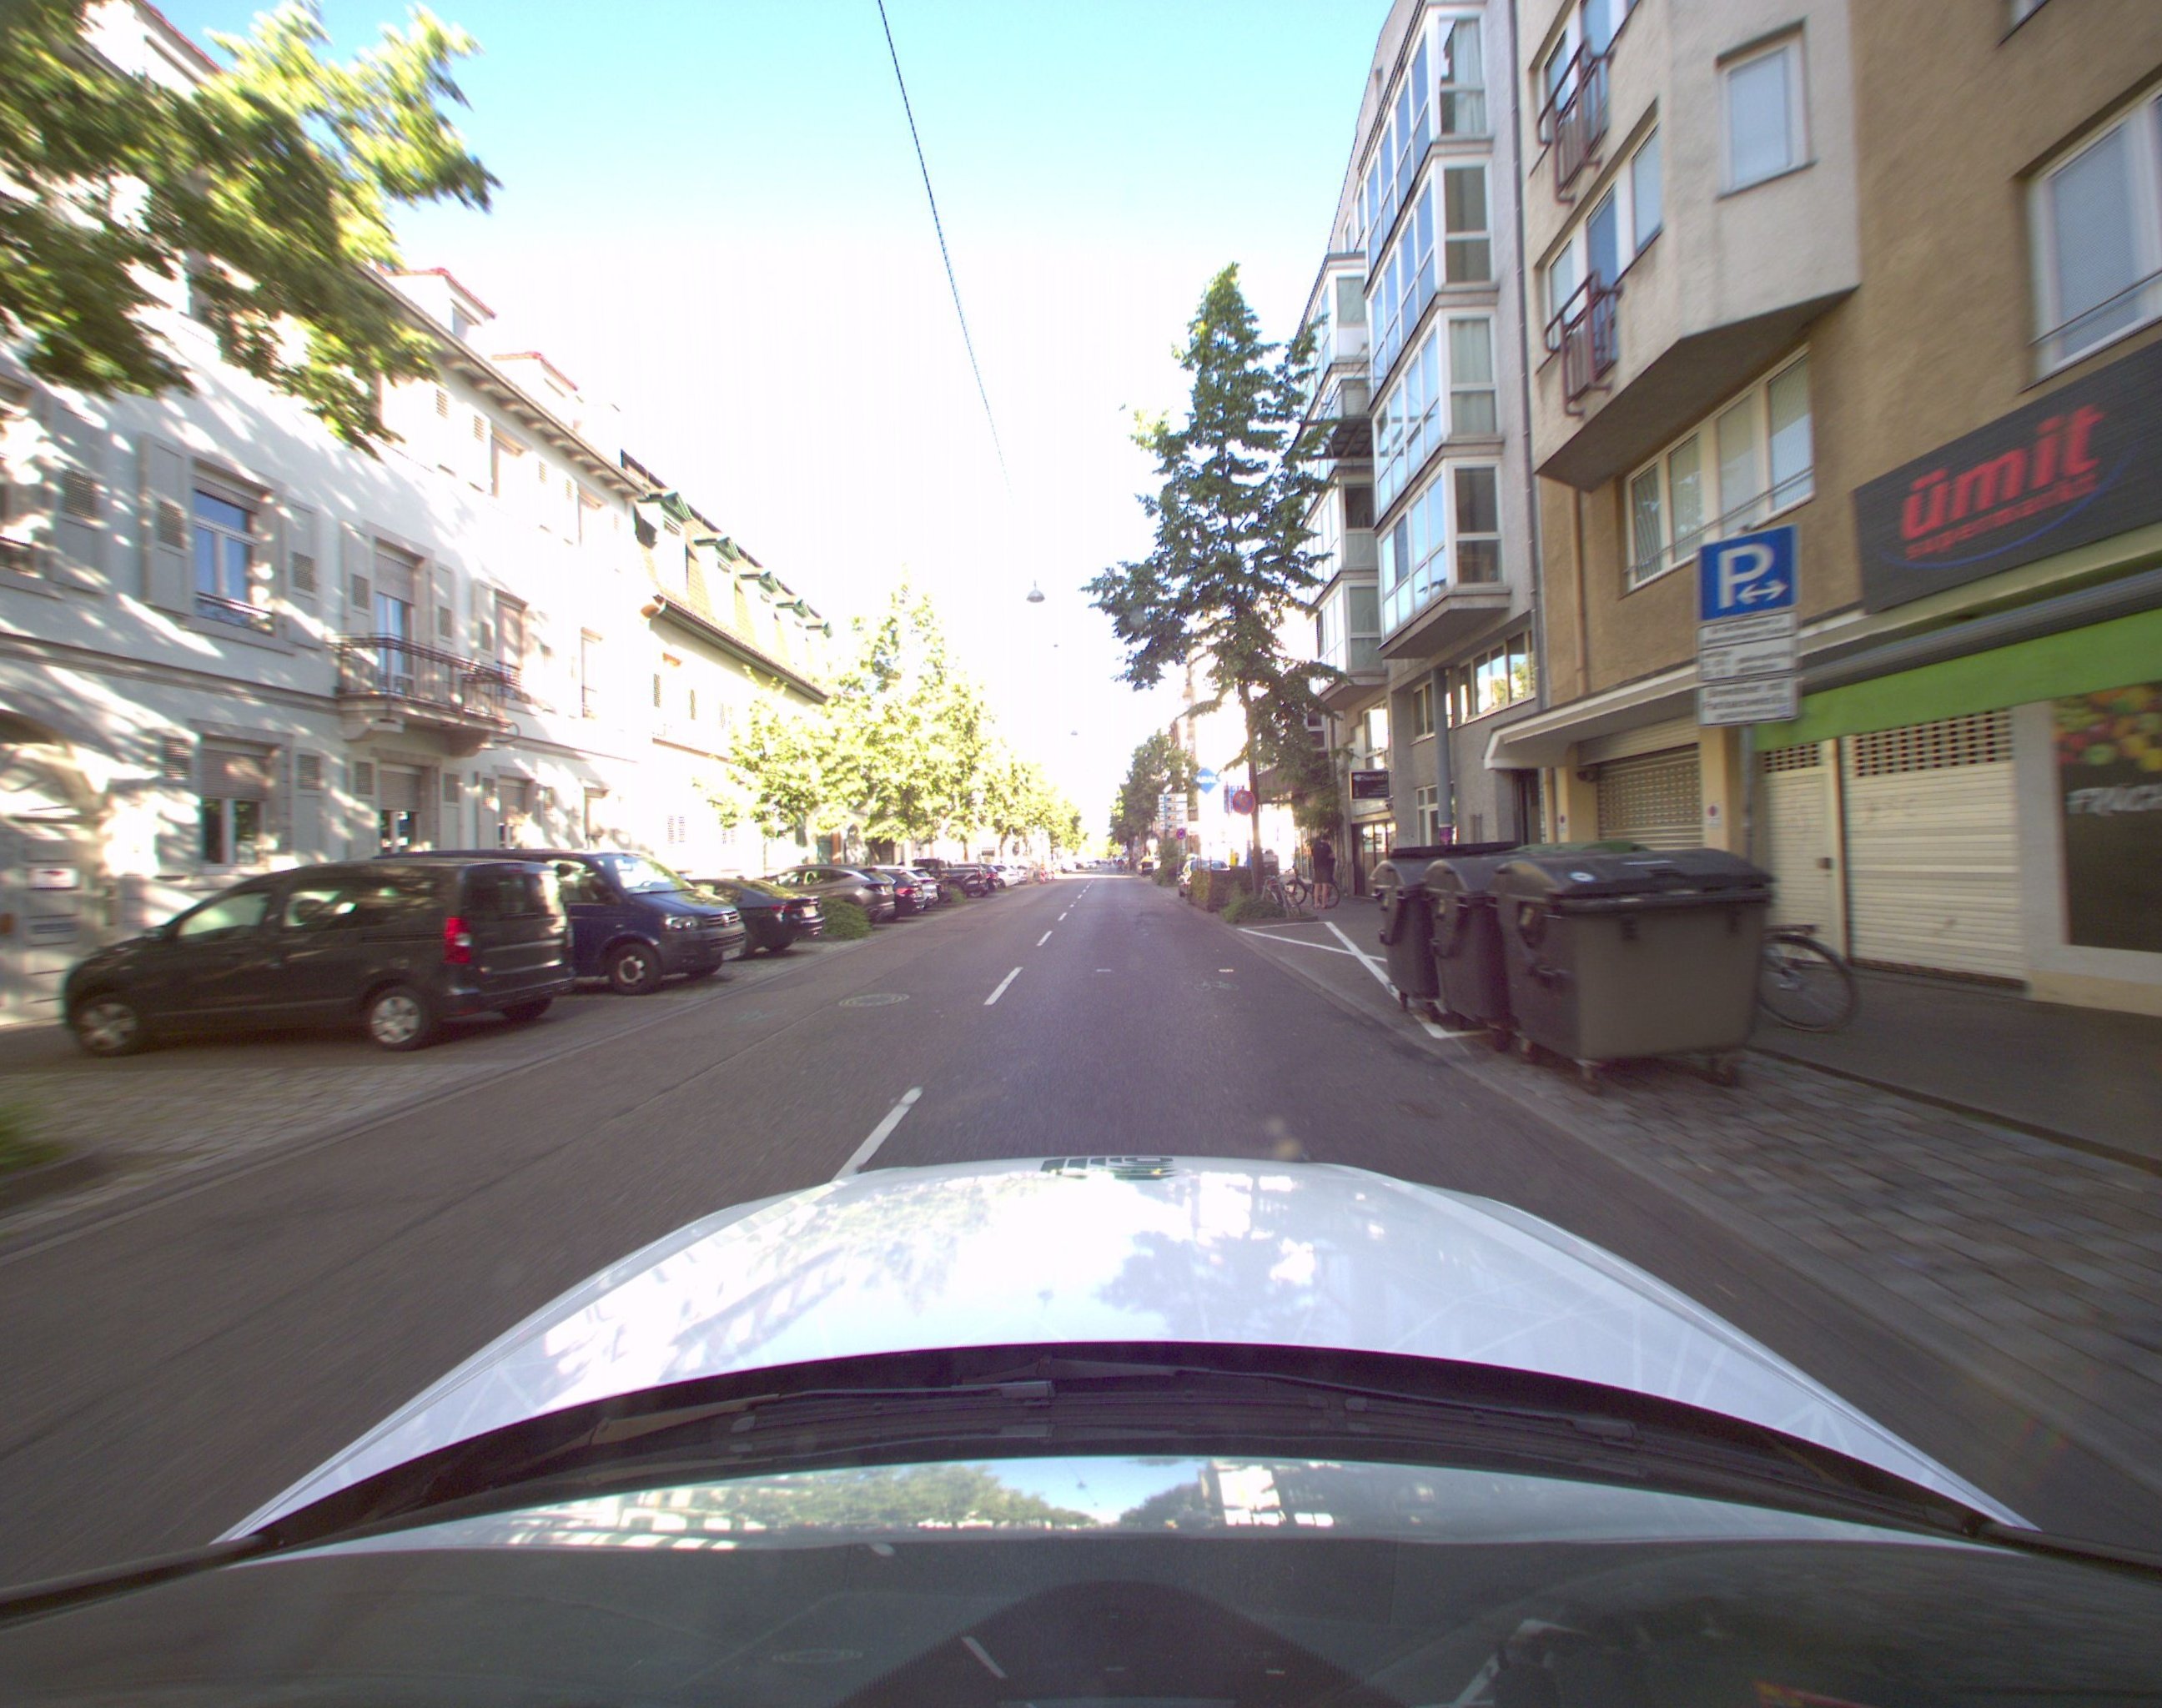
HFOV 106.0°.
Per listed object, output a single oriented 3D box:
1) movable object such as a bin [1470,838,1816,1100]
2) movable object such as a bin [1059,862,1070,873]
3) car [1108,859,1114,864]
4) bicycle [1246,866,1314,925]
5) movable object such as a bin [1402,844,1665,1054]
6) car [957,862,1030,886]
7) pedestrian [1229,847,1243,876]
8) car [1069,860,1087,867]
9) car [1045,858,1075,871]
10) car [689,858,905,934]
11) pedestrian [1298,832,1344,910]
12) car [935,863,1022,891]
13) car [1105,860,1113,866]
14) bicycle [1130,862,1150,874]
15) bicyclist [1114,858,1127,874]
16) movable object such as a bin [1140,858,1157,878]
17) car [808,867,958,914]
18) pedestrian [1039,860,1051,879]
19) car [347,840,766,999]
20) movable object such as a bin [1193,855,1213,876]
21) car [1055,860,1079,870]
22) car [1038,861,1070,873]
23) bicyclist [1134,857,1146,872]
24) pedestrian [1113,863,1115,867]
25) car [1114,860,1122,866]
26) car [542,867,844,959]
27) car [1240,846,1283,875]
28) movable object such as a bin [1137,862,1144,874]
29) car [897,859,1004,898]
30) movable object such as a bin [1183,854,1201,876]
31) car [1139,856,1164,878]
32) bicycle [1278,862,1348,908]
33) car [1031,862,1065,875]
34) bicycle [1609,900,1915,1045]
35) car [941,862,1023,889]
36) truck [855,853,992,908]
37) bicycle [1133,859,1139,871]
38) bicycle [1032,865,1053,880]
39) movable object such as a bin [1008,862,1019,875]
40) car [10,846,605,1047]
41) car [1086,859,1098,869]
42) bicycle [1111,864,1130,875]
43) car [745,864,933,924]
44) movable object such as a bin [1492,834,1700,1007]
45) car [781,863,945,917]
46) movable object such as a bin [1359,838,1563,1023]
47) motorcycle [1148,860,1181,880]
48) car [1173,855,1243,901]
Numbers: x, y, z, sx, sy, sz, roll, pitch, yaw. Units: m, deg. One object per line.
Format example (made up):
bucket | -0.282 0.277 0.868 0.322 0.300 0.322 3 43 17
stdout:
movable object such as a bin | 3.490 0.663 5.240 1.393 1.454 1.146 -2 -1 2
movable object such as a bin | -2.273 1.787 110.685 1.330 1.478 1.480 -2 0 1
car | 8.123 1.986 220.812 1.786 1.411 4.002 -2 0 2
bicycle | 4.308 0.874 17.761 0.607 1.120 2.050 -9 0 -7
movable object such as a bin | 3.463 0.686 6.404 1.393 1.454 1.146 -2 -1 2
car | -5.823 1.324 54.489 4.667 1.412 1.807 -1 -1 -2
pedestrian | 9.990 0.484 52.564 0.704 1.850 0.689 -3 -1 3
car | -0.567 2.153 184.667 3.973 1.500 2.000 -2 0 0
car | -2.949 1.514 116.944 3.966 1.694 2.004 -2 0 6
car | -6.929 1.007 20.191 4.661 1.712 1.809 -1 -1 3
pedestrian | 6.123 0.434 20.763 0.916 1.935 0.765 -2 -1 27
car | -5.803 1.298 46.515 4.667 1.465 1.807 -1 -1 -2
car | 7.000 2.229 202.113 1.816 1.391 4.301 -4 -1 1
bicycle | 6.679 1.567 92.385 2.033 1.220 0.717 -2 -1 -17
bicyclist | 4.104 1.240 84.666 1.045 1.560 0.761 -2 -1 -35
movable object such as a bin | 5.435 1.104 65.763 1.135 1.562 1.463 -3 -1 10
car | -6.798 1.231 28.250 4.661 1.463 1.809 -1 -1 3
pedestrian | -3.187 1.396 72.744 0.797 1.707 0.759 -1 -1 -31
car | -7.155 0.858 11.442 4.661 1.950 1.918 -1 -1 3
movable object such as a bin | 9.249 0.868 61.735 1.266 1.530 1.176 -3 -1 0
car | -2.353 1.899 139.710 3.973 1.500 2.000 -2 0 0
car | -3.444 1.654 104.033 3.973 1.390 2.000 -2 0 0
bicyclist | 6.670 1.158 92.393 1.156 1.693 0.717 -2 -1 -16
pedestrian | 8.051 2.645 198.907 0.544 1.026 0.546 -3 -1 0
car | 10.143 2.407 222.562 1.986 1.508 4.001 -1 -1 1
car | -6.901 1.021 14.791 4.628 1.459 1.684 -1 -1 1
car | 11.235 0.420 50.821 1.893 1.648 4.297 -3 -1 3
movable object such as a bin | 6.032 1.438 82.874 0.619 1.180 0.711 -2 0 -1
car | -6.099 1.151 38.466 4.661 1.693 1.809 -1 -1 3
movable object such as a bin | 8.593 0.856 63.119 1.201 1.627 1.498 -3 -1 0
car | 6.066 1.076 70.068 1.815 1.679 4.603 -4 -1 2
bicycle | 6.109 0.820 21.512 0.686 1.149 1.665 -2 -1 -40
car | -3.978 1.683 98.254 3.973 1.390 2.000 -2 0 0
bicycle | 4.912 0.799 6.029 0.570 0.872 1.630 -2 -2 -20
car | -5.929 1.283 49.208 4.667 1.465 1.807 -1 -1 -2
truck | -6.334 1.050 33.191 5.066 1.938 2.000 -2 -1 1
bicycle | 6.884 1.390 101.915 0.558 1.441 1.629 -8 -1 2
bicycle | -3.420 1.634 72.070 1.852 1.252 0.599 -1 -1 -6
movable object such as a bin | -8.048 1.736 97.376 1.168 1.485 1.315 -2 -1 0
car | -7.743 0.878 8.475 4.447 1.772 1.918 -1 -1 3
car | 1.802 1.655 134.619 1.796 1.435 4.410 -4 -1 1
bicycle | 4.099 1.605 84.667 1.964 1.059 0.761 -2 -1 -35
car | -6.721 1.098 22.922 4.661 1.519 1.809 -1 -1 3
movable object such as a bin | 4.686 0.568 7.545 1.073 1.431 1.296 -2 -1 2
car | -6.860 1.124 25.932 4.661 1.572 1.809 -1 -1 3
movable object such as a bin | 3.456 0.662 7.570 1.325 1.542 1.146 -2 -1 2
motorcycle | 5.681 1.085 55.413 1.978 1.330 0.908 -2 0 -11
car | 4.571 0.833 29.960 1.894 1.412 4.648 -4 -1 2
